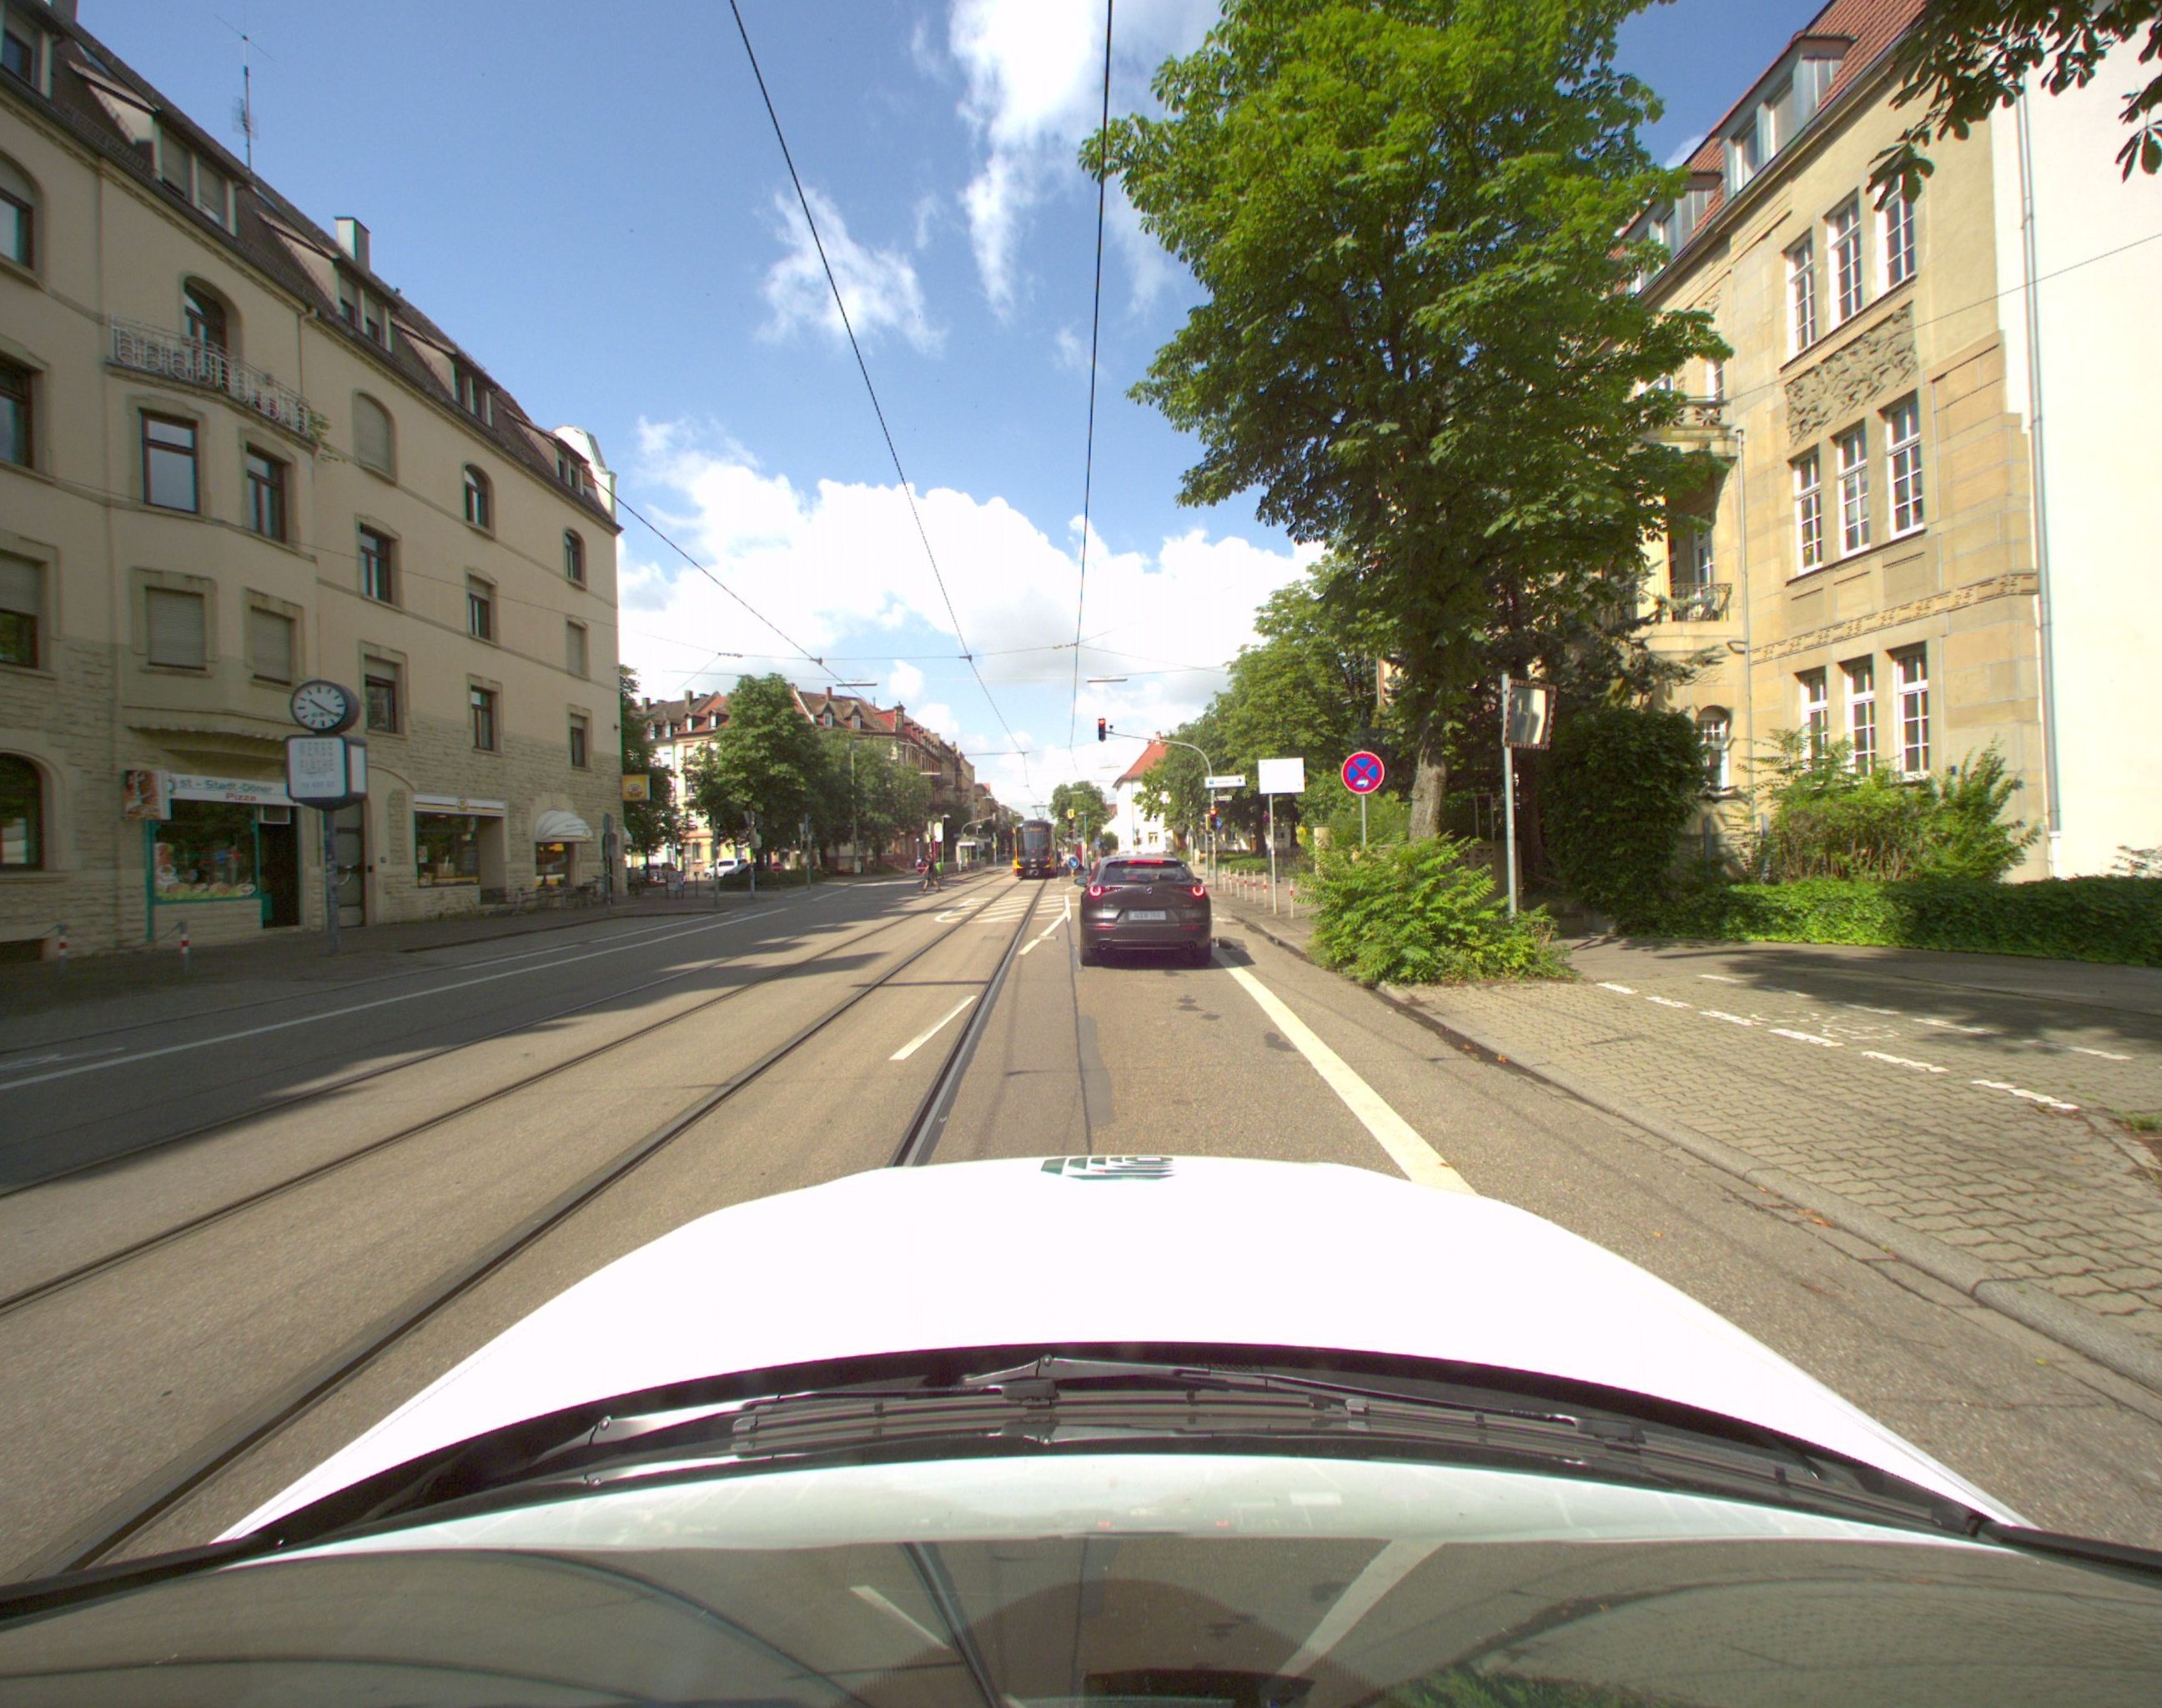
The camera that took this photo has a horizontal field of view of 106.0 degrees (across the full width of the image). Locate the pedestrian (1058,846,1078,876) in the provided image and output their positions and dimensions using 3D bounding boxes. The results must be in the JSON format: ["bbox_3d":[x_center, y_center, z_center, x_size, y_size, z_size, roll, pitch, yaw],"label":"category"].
[{"bbox_3d":[-0.745,0.412,47.397,0.813,1.705,0.724,-2,0,34],"label":"pedestrian"}]

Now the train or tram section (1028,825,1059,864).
[{"bbox_3d":[-3.714,-0.965,82.275,2.745,3.490,14.398,-2,1,-2],"label":"train or tram section"}]

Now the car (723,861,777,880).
[{"bbox_3d":[-28.088,1.386,69.243,4.065,1.518,1.751,-2,0,-17],"label":"car"}]

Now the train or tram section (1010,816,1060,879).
[{"bbox_3d":[-2.825,-0.474,53.488,2.745,3.490,14.398,-2,1,-2],"label":"train or tram section"}]

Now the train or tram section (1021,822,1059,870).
[{"bbox_3d":[-3.261,-0.721,67.889,2.745,3.490,14.398,-2,1,-2],"label":"train or tram section"}]

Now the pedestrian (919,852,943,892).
[{"bbox_3d":[-6.440,0.756,35.076,0.746,1.684,0.702,-2,0,11],"label":"pedestrian"}]

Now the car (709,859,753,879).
[{"bbox_3d":[-36.260,1.562,84.296,3.950,1.903,2.012,-2,0,26],"label":"car"}]

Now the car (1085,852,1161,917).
[{"bbox_3d":[1.051,0.708,21.077,1.772,1.499,4.002,0,0,2],"label":"car"}]

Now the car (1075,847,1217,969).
[{"bbox_3d":[0.898,0.688,12.469,1.772,1.499,4.002,-2,0,2],"label":"car"}]

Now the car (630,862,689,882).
[{"bbox_3d":[-36.835,1.550,71.224,3.971,1.596,2.001,-2,0,2],"label":"car"}]
